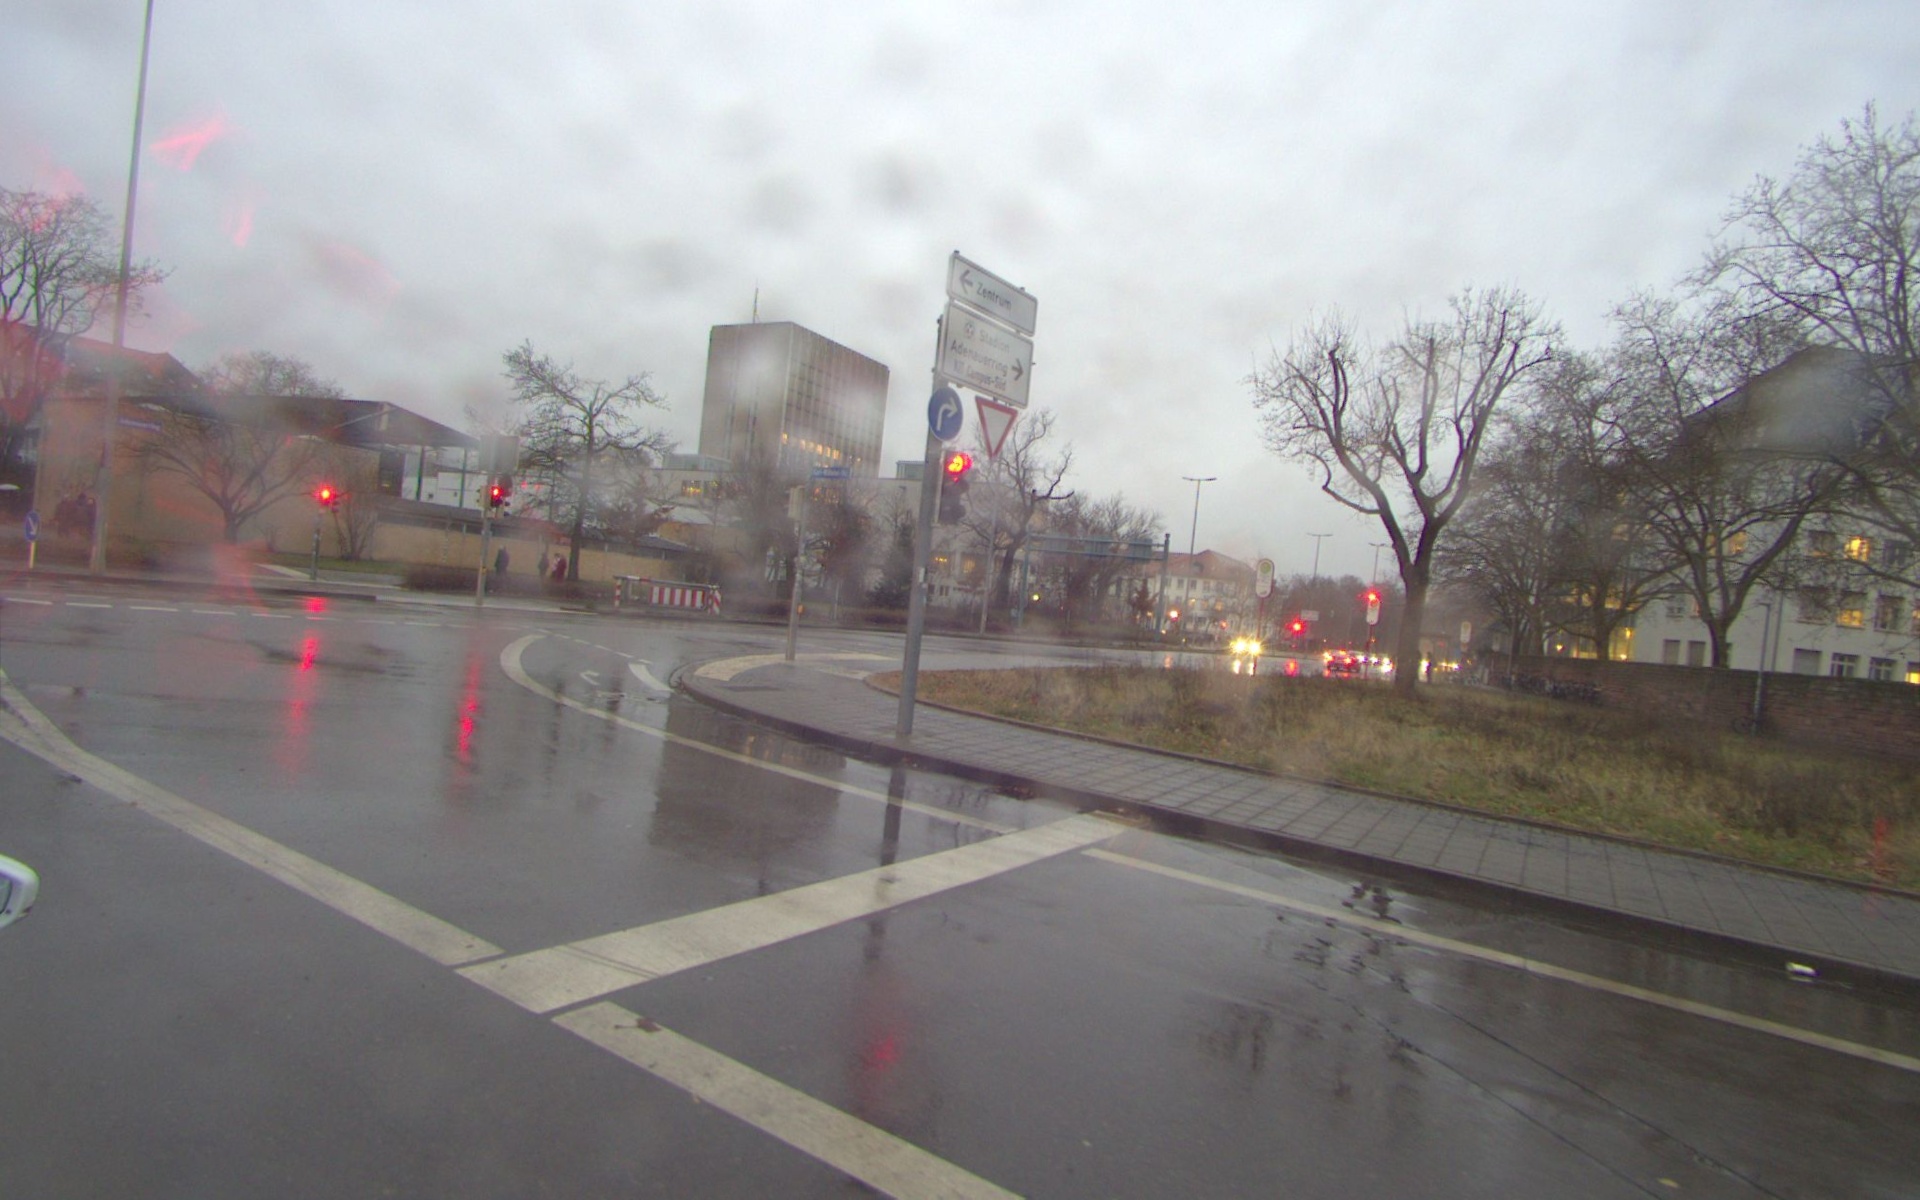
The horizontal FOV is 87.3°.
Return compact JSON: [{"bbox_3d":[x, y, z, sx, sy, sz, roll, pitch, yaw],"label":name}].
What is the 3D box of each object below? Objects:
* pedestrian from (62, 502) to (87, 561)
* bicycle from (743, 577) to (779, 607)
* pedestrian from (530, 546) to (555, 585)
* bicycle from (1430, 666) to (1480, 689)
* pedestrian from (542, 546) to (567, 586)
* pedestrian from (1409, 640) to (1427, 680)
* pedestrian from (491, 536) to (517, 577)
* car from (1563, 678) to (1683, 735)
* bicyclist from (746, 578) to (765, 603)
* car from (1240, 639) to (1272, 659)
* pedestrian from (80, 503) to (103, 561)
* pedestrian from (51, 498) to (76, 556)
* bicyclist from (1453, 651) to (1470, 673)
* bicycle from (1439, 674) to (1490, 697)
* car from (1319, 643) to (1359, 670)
[{"bbox_3d":[-28.781,-2.211,32.708,0.456,1.860,0.434,7,-1,-41],"label":"pedestrian"},{"bbox_3d":[-11.091,-0.435,56.133,0.584,1.439,1.922,5,-2,40],"label":"bicycle"},{"bbox_3d":[-19.543,-1.632,47.107,0.749,1.745,0.623,5,-1,38],"label":"pedestrian"},{"bbox_3d":[27.202,4.233,55.313,2.373,1.003,0.537,5,-2,31],"label":"bicycle"},{"bbox_3d":[-18.643,-1.561,46.286,0.749,1.745,0.623,5,-1,38],"label":"pedestrian"},{"bbox_3d":[22.176,2.886,48.687,0.633,1.857,0.836,5,-1,23],"label":"pedestrian"},{"bbox_3d":[-20.489,-1.958,45.209,0.749,1.745,0.623,5,-1,38],"label":"pedestrian"},{"bbox_3d":[15.229,2.446,23.089,2.656,0.989,1.290,7,1,-34],"label":"car"},{"bbox_3d":[-11.364,-0.520,55.791,0.599,1.261,0.697,5,-2,40],"label":"bicyclist"},{"bbox_3d":[29.898,4.971,101.496,1.720,1.670,4.237,5,-3,35],"label":"car"},{"bbox_3d":[-29.190,-2.274,33.810,0.435,1.860,0.455,6,-1,-40],"label":"pedestrian"},{"bbox_3d":[-29.642,-2.394,33.262,0.436,1.860,0.455,7,-1,-40],"label":"pedestrian"},{"bbox_3d":[27.211,3.351,54.613,0.690,1.092,0.494,5,-1,32],"label":"bicyclist"},{"bbox_3d":[27.319,4.615,54.443,2.373,1.003,0.479,5,-2,31],"label":"bicycle"},{"bbox_3d":[28.671,4.271,76.065,1.861,1.670,3.635,5,-3,35],"label":"car"}]
